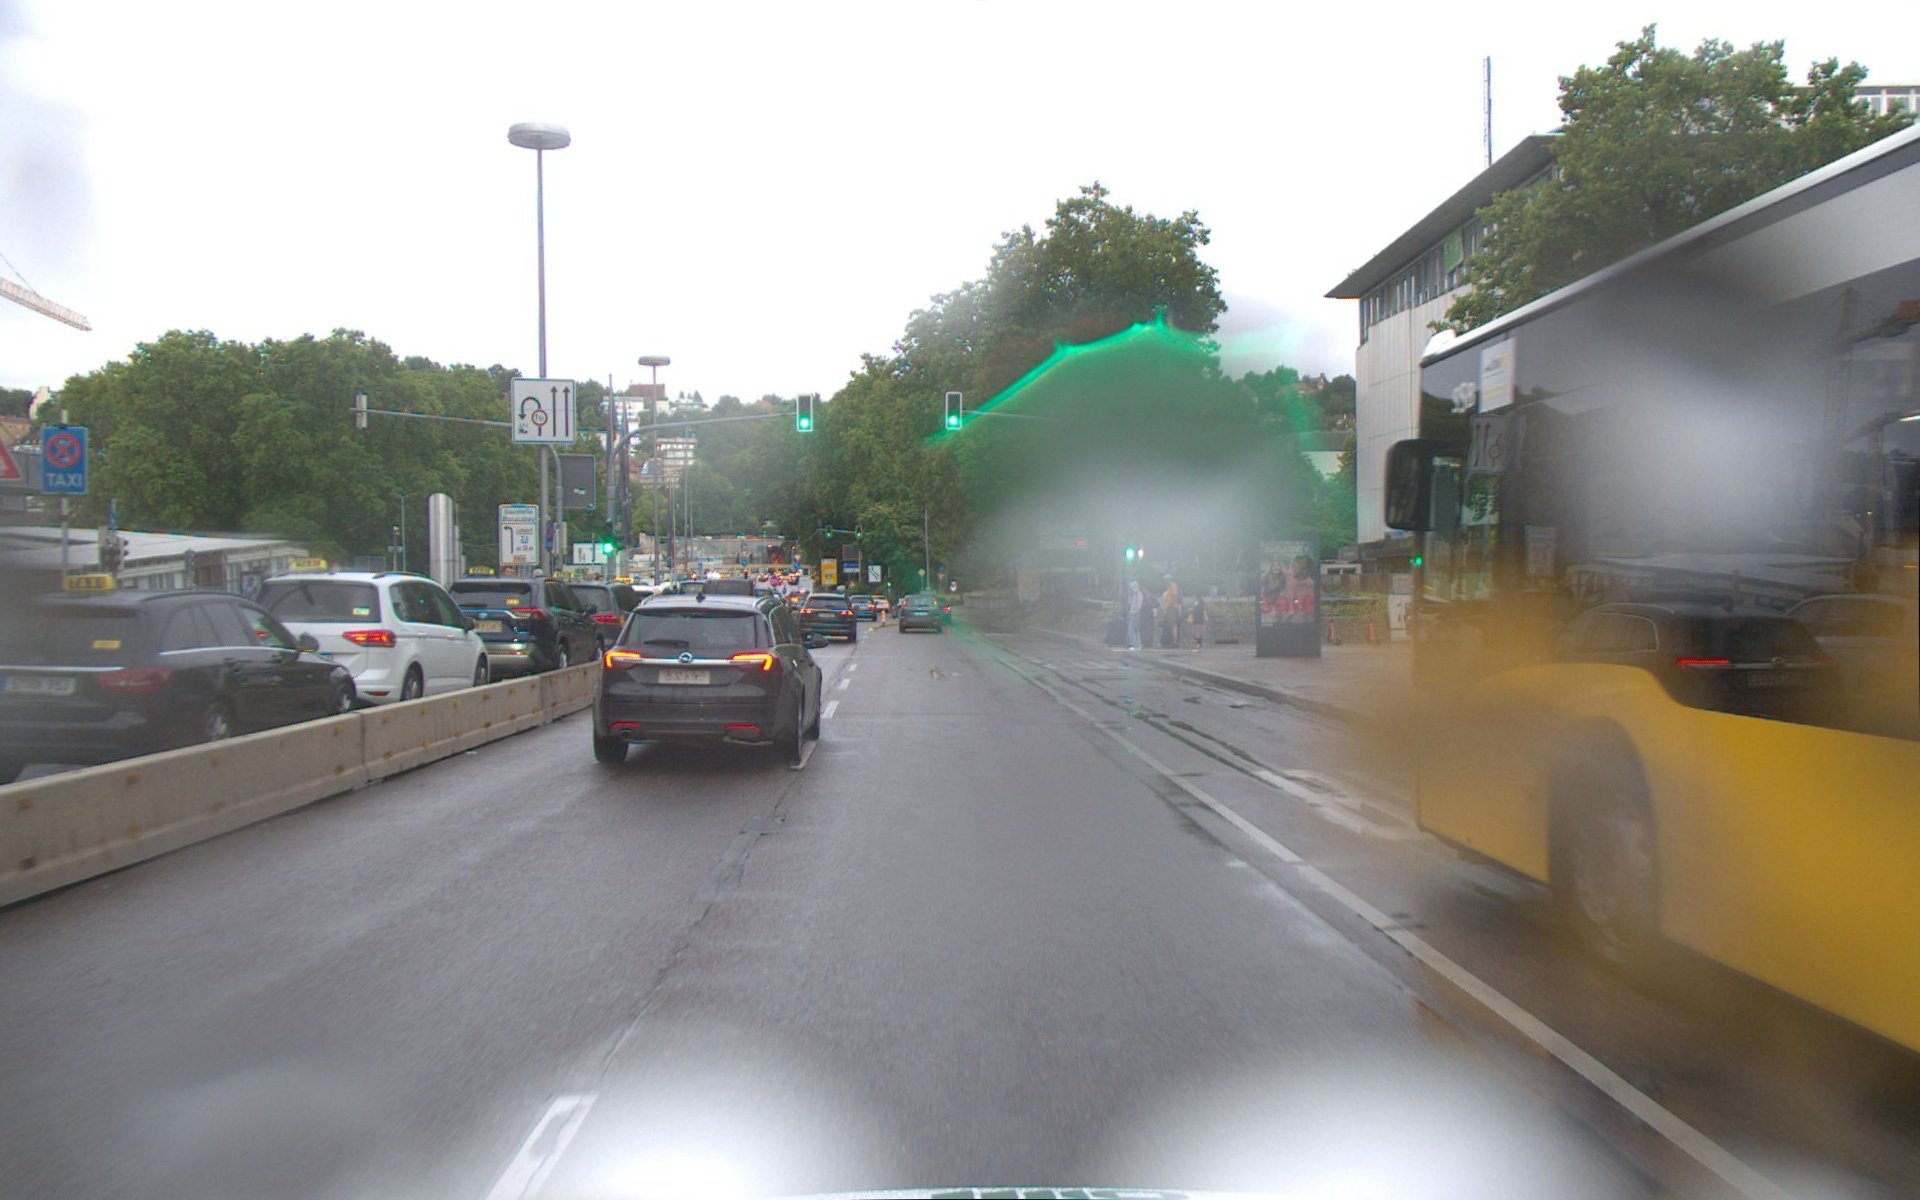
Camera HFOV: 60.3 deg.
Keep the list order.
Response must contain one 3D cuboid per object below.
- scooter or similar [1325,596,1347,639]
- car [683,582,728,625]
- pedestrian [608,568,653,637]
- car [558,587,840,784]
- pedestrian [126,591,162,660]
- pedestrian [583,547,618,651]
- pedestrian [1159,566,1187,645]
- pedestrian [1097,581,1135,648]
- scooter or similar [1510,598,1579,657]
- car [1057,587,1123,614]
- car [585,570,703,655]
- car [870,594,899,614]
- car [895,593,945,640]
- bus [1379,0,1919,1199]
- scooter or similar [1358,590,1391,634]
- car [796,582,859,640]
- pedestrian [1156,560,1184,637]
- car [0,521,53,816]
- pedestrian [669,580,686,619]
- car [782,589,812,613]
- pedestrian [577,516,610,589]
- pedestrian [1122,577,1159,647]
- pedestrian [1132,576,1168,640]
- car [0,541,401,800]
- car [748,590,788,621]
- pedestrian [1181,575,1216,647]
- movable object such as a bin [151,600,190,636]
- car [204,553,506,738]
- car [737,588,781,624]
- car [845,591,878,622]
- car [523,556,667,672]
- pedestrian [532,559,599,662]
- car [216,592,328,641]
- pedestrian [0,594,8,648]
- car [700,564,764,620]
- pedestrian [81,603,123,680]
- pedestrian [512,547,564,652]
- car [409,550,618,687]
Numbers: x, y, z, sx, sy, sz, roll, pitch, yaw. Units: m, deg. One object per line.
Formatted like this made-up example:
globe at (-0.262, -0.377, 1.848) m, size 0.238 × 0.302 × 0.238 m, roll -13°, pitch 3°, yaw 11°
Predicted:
scooter or similar at (11.007, 0.505, 48.441) m, size 0.345 × 1.238 × 1.157 m, roll 1°, pitch 0°, yaw -3°
car at (-12.656, 0.171, 82.566) m, size 1.955 × 2.049 × 5.363 m, roll 0°, pitch 0°, yaw -6°
pedestrian at (-9.286, 0.067, 46.611) m, size 0.983 × 1.919 × 0.683 m, roll -1°, pitch 0°, yaw 21°
car at (-2.222, 0.655, 15.399) m, size 1.839 × 1.534 × 4.852 m, roll 0°, pitch 0°, yaw 0°
pedestrian at (-22.252, 0.692, 45.106) m, size 0.683 × 1.873 × 0.528 m, roll -1°, pitch 0°, yaw -3°
pedestrian at (-7.192, -0.020, 33.127) m, size 0.517 × 2.049 × 0.890 m, roll -1°, pitch 0°, yaw -3°
pedestrian at (5.940, 0.149, 46.182) m, size 0.545 × 2.183 × 0.665 m, roll -1°, pitch 0°, yaw -16°
pedestrian at (4.411, 0.404, 46.761) m, size 0.773 × 1.871 × 0.946 m, roll -1°, pitch 0°, yaw -16°
scooter or similar at (12.866, 0.596, 36.421) m, size 1.346 × 1.252 × 0.566 m, roll 0°, pitch 0°, yaw 44°
car at (7.728, 0.029, 98.446) m, size 3.549 × 1.532 × 1.727 m, roll 0°, pitch 0°, yaw 38°
car at (-6.886, 0.251, 36.464) m, size 1.750 × 1.715 × 4.666 m, roll -1°, pitch 0°, yaw -1°
car at (-6.253, 0.334, 136.545) m, size 1.782 × 1.602 × 3.989 m, roll 0°, pitch 0°, yaw -11°
car at (-1.562, 0.630, 63.570) m, size 1.815 × 1.747 × 3.998 m, roll 0°, pitch 0°, yaw -3°
bus at (3.983, -0.005, 4.754) m, size 3.050 × 3.261 × 9.239 m, roll 0°, pitch 0°, yaw -1°
scooter or similar at (12.162, 0.353, 48.559) m, size 0.366 × 1.281 × 1.311 m, roll 1°, pitch 0°, yaw -13°
car at (-4.079, 0.307, 51.492) m, size 1.794 × 1.715 × 4.132 m, roll -1°, pitch 0°, yaw -3°
pedestrian at (5.993, -0.050, 47.184) m, size 0.693 × 2.183 × 0.722 m, roll -1°, pitch 0°, yaw 10°
car at (-6.394, 0.416, 7.628) m, size 1.953 × 1.682 × 4.640 m, roll -1°, pitch 0°, yaw -2°
pedestrian at (-13.184, -0.026, 77.334) m, size 0.621 × 1.784 × 0.822 m, roll 0°, pitch 0°, yaw 2°
car at (-12.763, 0.063, 129.554) m, size 1.958 × 1.859 × 3.989 m, roll 0°, pitch 0°, yaw -11°
pedestrian at (-9.761, -1.264, 44.094) m, size 0.815 × 1.919 × 0.690 m, roll -1°, pitch 2°, yaw -11°
pedestrian at (4.791, 0.319, 43.980) m, size 0.733 × 1.836 × 0.706 m, roll -1°, pitch 0°, yaw -16°
pedestrian at (5.215, 0.217, 45.488) m, size 0.857 × 1.720 × 0.758 m, roll -1°, pitch 0°, yaw -1°
car at (-6.450, 0.473, 13.792) m, size 2.008 × 1.741 × 5.053 m, roll -1°, pitch 0°, yaw -2°
car at (-10.337, 0.288, 89.237) m, size 1.955 × 1.595 × 4.871 m, roll -2°, pitch 0°, yaw -5°
pedestrian at (6.229, 0.286, 43.236) m, size 0.533 × 1.836 × 0.750 m, roll -1°, pitch 0°, yaw -29°
movable object such as a bin at (-21.909, 0.493, 45.905) m, size 0.743 × 0.987 × 0.720 m, roll -1°, pitch 0°, yaw -3°
car at (-6.708, 0.446, 18.903) m, size 1.954 × 1.818 × 4.452 m, roll -1°, pitch 0°, yaw -3°
car at (-8.968, 0.266, 74.066) m, size 1.788 × 1.537 × 4.486 m, roll 0°, pitch 0°, yaw -5°
car at (-5.697, 0.352, 95.897) m, size 1.866 × 1.747 × 3.998 m, roll 0°, pitch 0°, yaw -3°
car at (-6.593, 0.220, 30.368) m, size 1.679 × 1.925 × 4.609 m, roll -1°, pitch 0°, yaw -1°
pedestrian at (-8.027, 0.208, 33.648) m, size 0.819 × 2.049 × 1.024 m, roll 0°, pitch 0°, yaw 36°
car at (-22.035, 0.521, 53.134) m, size 1.953 × 1.493 × 3.999 m, roll 0°, pitch 0°, yaw -1°
pedestrian at (-34.314, 0.748, 58.334) m, size 1.006 × 1.914 × 0.834 m, roll -1°, pitch -1°, yaw -11°
car at (-7.983, -0.251, 58.261) m, size 1.954 × 1.877 × 5.057 m, roll 0°, pitch 0°, yaw -5°
pedestrian at (-21.278, 1.012, 41.018) m, size 0.625 × 1.873 × 0.775 m, roll -1°, pitch 0°, yaw -2°
pedestrian at (-8.366, -0.014, 32.807) m, size 0.820 × 2.049 × 0.621 m, roll 0°, pitch 0°, yaw 38°
car at (-6.568, 0.235, 24.909) m, size 1.953 × 1.818 × 4.846 m, roll -1°, pitch 0°, yaw -2°
